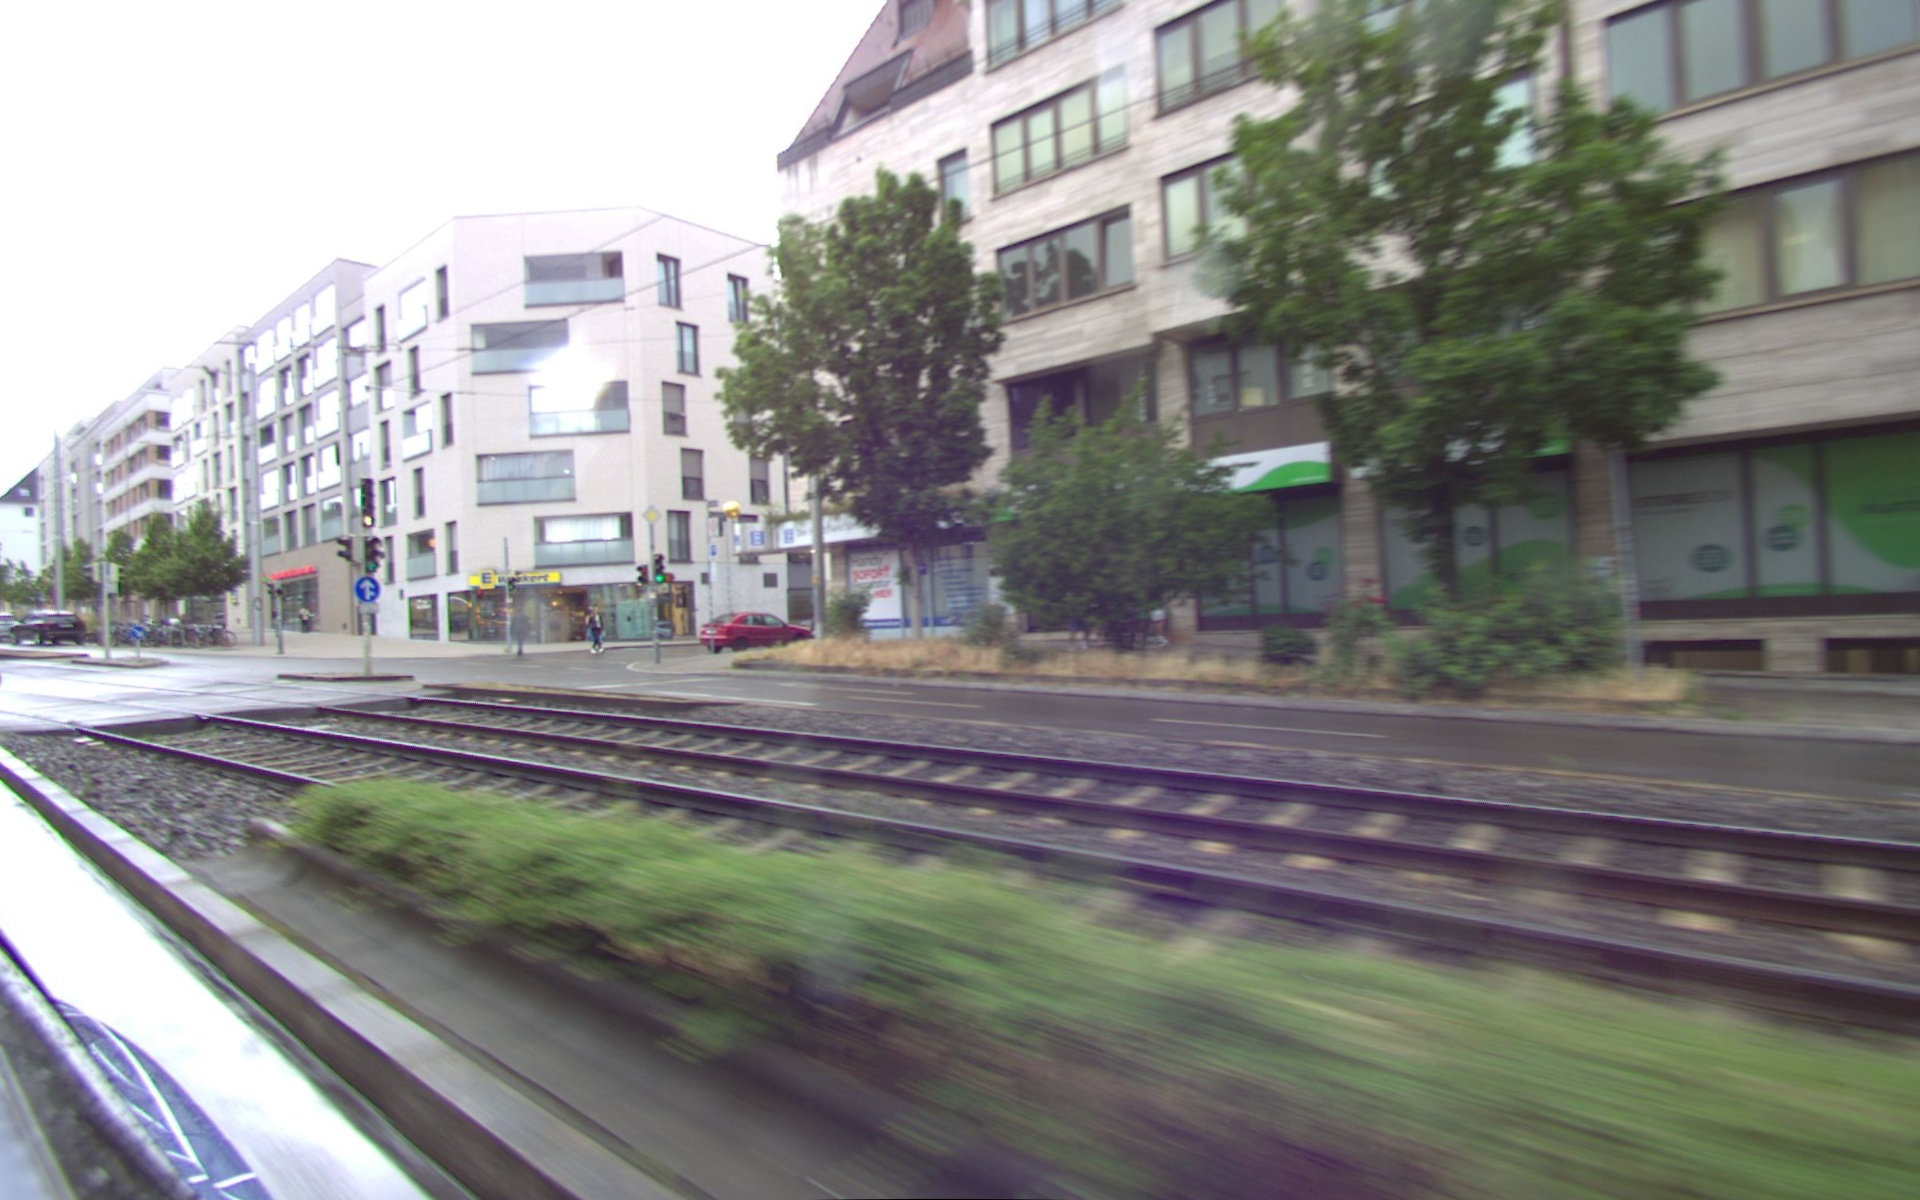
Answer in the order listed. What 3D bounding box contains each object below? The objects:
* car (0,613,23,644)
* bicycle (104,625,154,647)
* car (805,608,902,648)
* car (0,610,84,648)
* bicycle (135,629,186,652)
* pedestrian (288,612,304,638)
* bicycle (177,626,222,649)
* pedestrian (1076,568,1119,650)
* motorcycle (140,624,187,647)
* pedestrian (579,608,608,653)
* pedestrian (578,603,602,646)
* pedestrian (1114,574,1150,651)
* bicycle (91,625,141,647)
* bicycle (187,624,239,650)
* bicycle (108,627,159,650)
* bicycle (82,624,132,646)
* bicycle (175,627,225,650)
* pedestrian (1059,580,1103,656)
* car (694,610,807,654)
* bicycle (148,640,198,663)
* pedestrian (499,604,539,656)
[{"bbox_3d":[-49.552,1.434,51.382,4.312,1.475,1.669,0,2,30],"label":"car"},{"bbox_3d":[-37.960,1.643,46.258,0.385,0.924,1.774,0,1,26],"label":"bicycle"},{"bbox_3d":[-4.068,1.045,38.966,1.592,1.327,3.657,1,2,39],"label":"car"},{"bbox_3d":[-43.645,1.357,48.117,4.312,1.615,1.669,0,2,30],"label":"car"},{"bbox_3d":[-35.728,1.795,45.243,0.385,0.924,1.774,0,2,26],"label":"bicycle"},{"bbox_3d":[-37.785,1.416,57.574,0.803,1.460,0.533,1,4,43],"label":"pedestrian"},{"bbox_3d":[-33.859,1.660,45.070,0.383,0.924,1.782,-1,2,12],"label":"bicycle"},{"bbox_3d":[2.998,0.191,22.098,0.683,1.737,0.641,1,3,39],"label":"pedestrian"},{"bbox_3d":[-39.079,1.751,49.672,0.540,1.050,1.748,2,1,26],"label":"motorcycle"},{"bbox_3d":[-13.164,1.087,36.355,0.767,1.580,0.648,-1,3,3],"label":"pedestrian"},{"bbox_3d":[-15.295,1.011,41.850,0.580,1.723,0.702,0,1,17],"label":"pedestrian"},{"bbox_3d":[3.691,0.250,21.720,0.585,1.609,0.499,1,3,39],"label":"pedestrian"},{"bbox_3d":[-38.837,1.665,46.605,0.385,0.924,1.774,0,1,26],"label":"bicycle"},{"bbox_3d":[-32.362,1.598,43.856,0.438,0.987,1.774,0,2,26],"label":"bicycle"},{"bbox_3d":[-37.211,1.709,45.580,0.385,0.924,1.774,0,1,26],"label":"bicycle"},{"bbox_3d":[-39.660,1.601,47.062,0.385,0.924,1.774,0,1,26],"label":"bicycle"},{"bbox_3d":[-33.371,1.691,44.453,0.385,0.883,1.772,0,2,28],"label":"bicycle"},{"bbox_3d":[2.575,0.372,21.597,0.683,1.560,0.641,1,3,39],"label":"pedestrian"},{"bbox_3d":[-7.257,1.065,35.267,1.593,1.327,3.655,1,2,41],"label":"car"},{"bbox_3d":[-34.824,2.264,44.806,0.385,0.924,1.776,0,1,21],"label":"bicycle"},{"bbox_3d":[-15.717,1.051,36.079,0.956,1.843,0.923,0,0,32],"label":"pedestrian"}]
